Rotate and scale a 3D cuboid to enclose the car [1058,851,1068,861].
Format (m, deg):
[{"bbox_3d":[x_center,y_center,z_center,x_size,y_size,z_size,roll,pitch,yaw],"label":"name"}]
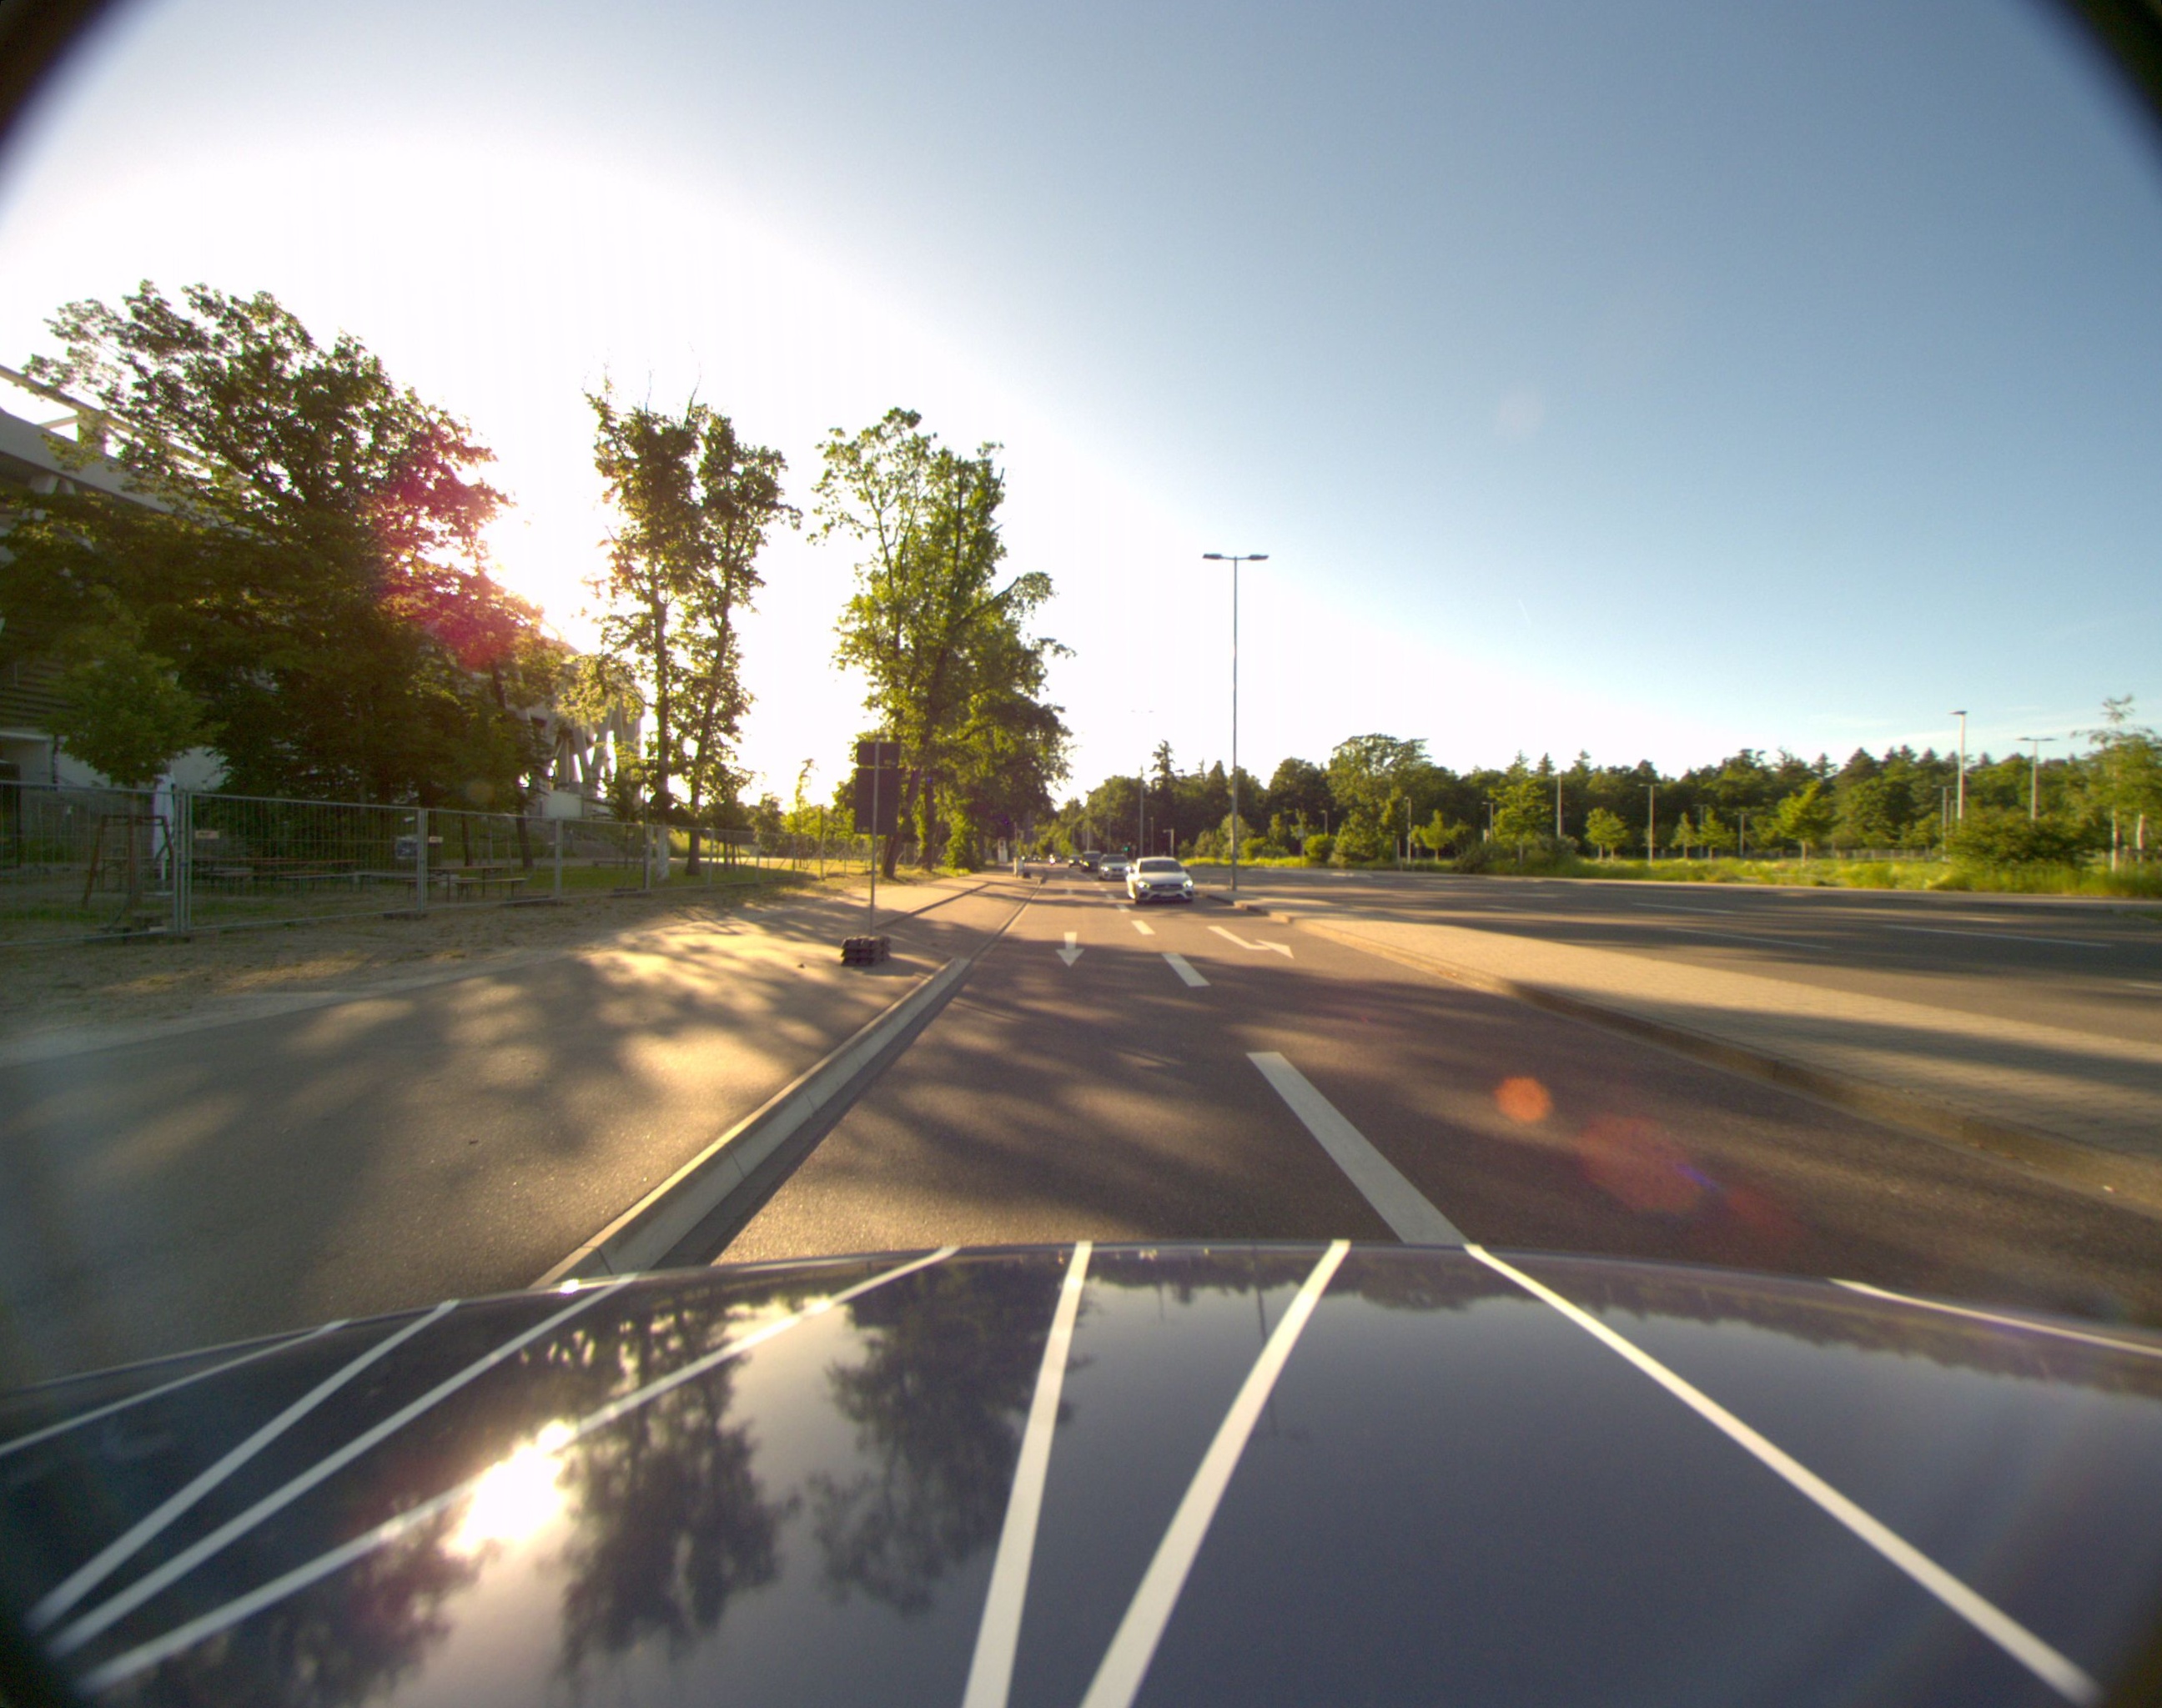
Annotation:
[{"bbox_3d":[-3.666,0.377,154.832,1.883,1.951,5.048,-2,0,0],"label":"car"}]

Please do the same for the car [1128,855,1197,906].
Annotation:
[{"bbox_3d":[2.566,0.806,24.844,1.789,1.436,4.278,-2,0,1],"label":"car"}]

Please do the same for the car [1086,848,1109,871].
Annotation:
[{"bbox_3d":[1.453,0.512,67.908,1.912,1.844,4.875,-2,-2,1],"label":"car"}]

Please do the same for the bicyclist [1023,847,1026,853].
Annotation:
[{"bbox_3d":[-12.585,-0.966,169.576,0.451,1.412,0.575,0,1,0],"label":"bicyclist"}]

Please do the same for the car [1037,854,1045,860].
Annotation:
[{"bbox_3d":[-10.800,0.845,206.714,1.883,1.629,5.048,-2,0,0],"label":"car"}]

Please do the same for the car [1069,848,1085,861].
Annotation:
[{"bbox_3d":[-0.488,0.059,97.023,1.883,1.528,3.999,-2,1,0],"label":"car"}]

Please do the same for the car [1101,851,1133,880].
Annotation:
[{"bbox_3d":[2.088,0.640,45.159,1.723,1.571,4.434,-2,0,1],"label":"car"}]
